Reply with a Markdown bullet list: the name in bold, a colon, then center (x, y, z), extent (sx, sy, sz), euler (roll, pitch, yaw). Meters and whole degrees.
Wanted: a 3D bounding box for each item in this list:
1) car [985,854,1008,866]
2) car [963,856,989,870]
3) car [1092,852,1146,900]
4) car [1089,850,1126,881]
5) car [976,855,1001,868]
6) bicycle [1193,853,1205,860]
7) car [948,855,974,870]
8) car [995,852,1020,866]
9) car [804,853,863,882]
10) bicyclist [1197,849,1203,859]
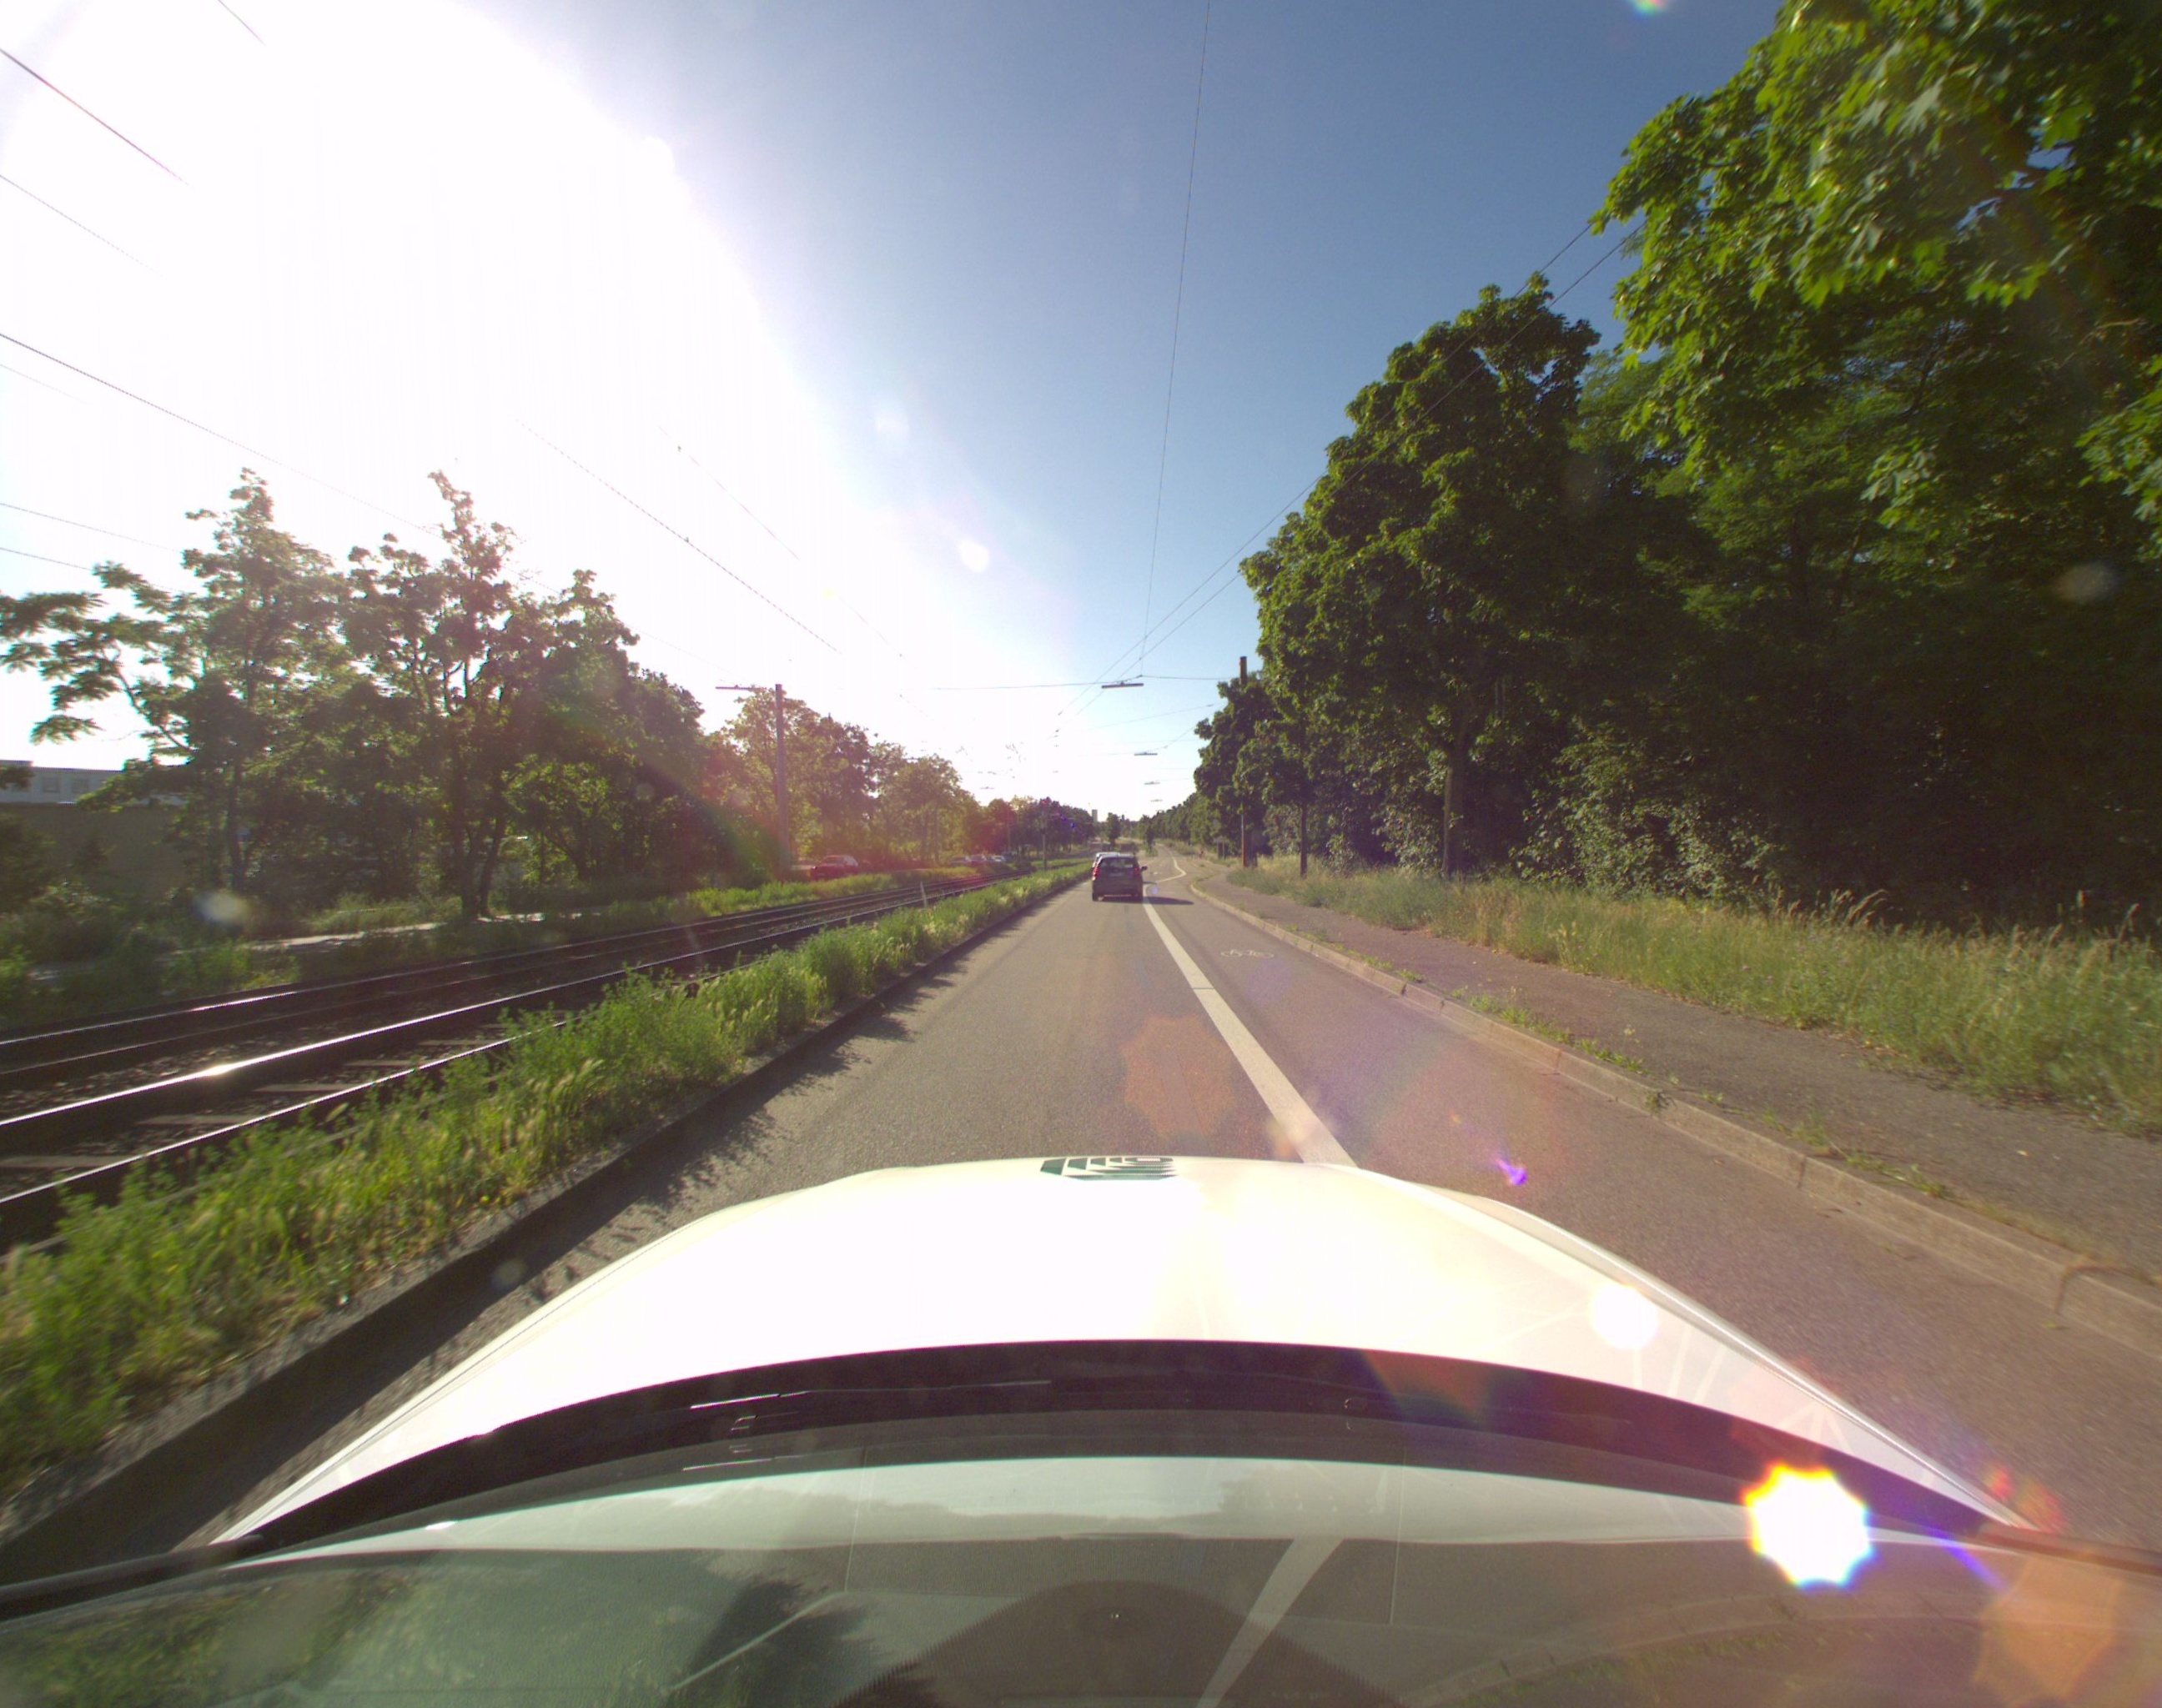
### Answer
- **car**: center (-10.768, 0.806, 104.424), extent (1.918, 1.437, 4.703), euler (-1, 0, 7)
- **car**: center (-11.890, 1.006, 92.506), extent (1.984, 1.574, 4.441), euler (-1, 0, 5)
- **car**: center (1.356, 0.703, 27.892), extent (1.699, 1.509, 4.004), euler (0, 0, 4)
- **car**: center (1.499, 0.587, 44.788), extent (1.842, 1.606, 4.259), euler (-1, 0, 4)
- **car**: center (-11.169, 0.887, 98.486), extent (1.983, 1.437, 4.423), euler (-1, 0, 7)
- **bicycle**: center (20.624, 0.412, 142.215), extent (1.905, 0.998, 0.768), euler (-3, -1, 17)
- **car**: center (-12.610, 0.893, 85.753), extent (1.727, 1.494, 4.333), euler (0, 0, 4)
- **car**: center (-9.975, 0.634, 110.759), extent (2.184, 1.891, 4.802), euler (-1, 0, 8)
- **car**: center (-15.691, 0.823, 51.836), extent (1.995, 1.702, 4.473), euler (-1, 0, 5)
- **bicyclist**: center (20.810, 0.033, 142.157), extent (0.903, 1.745, 0.768), euler (-2, -1, 17)
